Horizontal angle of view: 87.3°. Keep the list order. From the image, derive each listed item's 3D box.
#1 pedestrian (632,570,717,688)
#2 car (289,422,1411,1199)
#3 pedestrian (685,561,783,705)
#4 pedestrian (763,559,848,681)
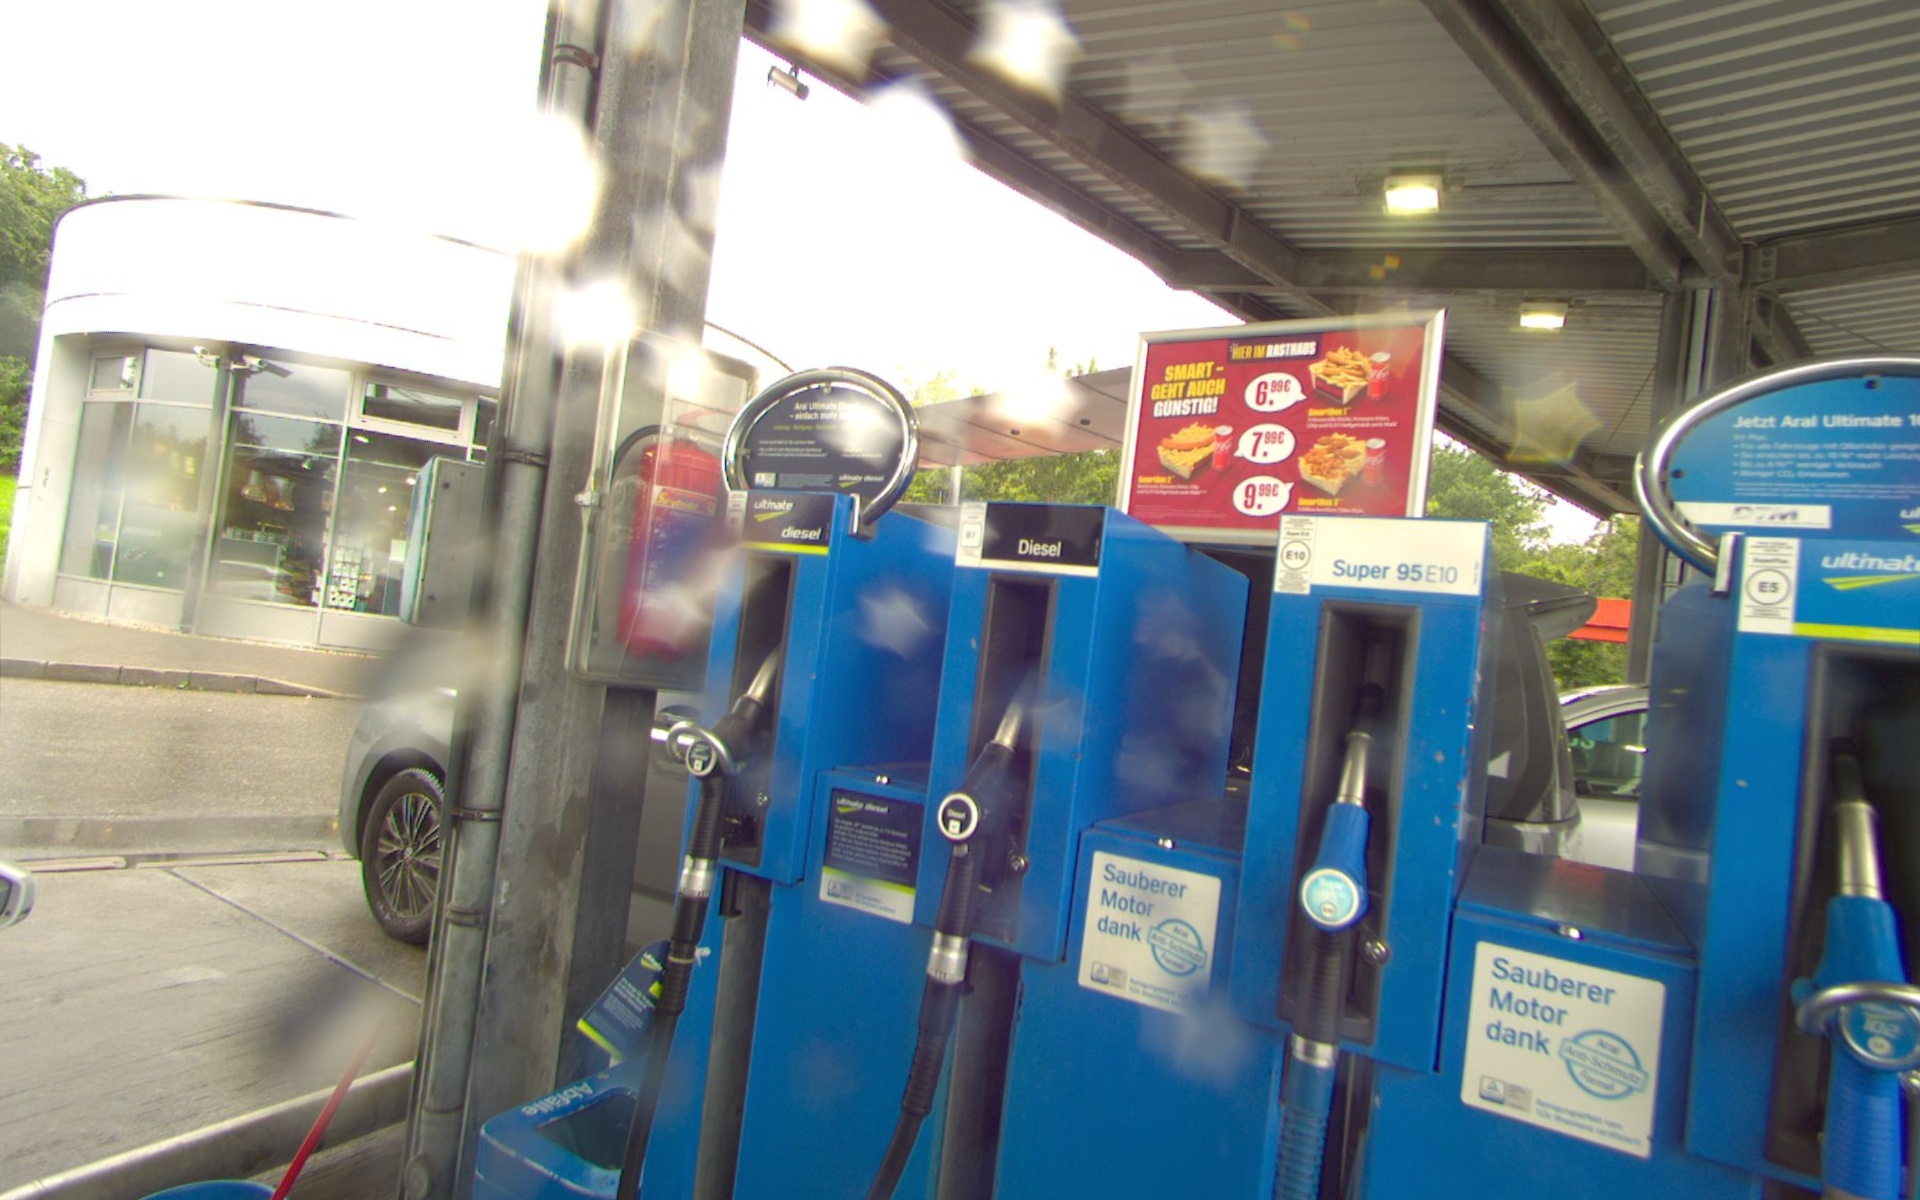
[{"bbox_3d":[-4.108,0.409,14.467,0.882,1.569,0.655,7,0,-29],"label":"pedestrian"},{"bbox_3d":[-0.579,0.517,3.977,3.934,1.971,1.819,7,-1,32],"label":"car"},{"bbox_3d":[-3.170,0.457,14.088,0.965,1.871,0.767,7,0,-30],"label":"pedestrian"},{"bbox_3d":[-2.593,0.333,16.839,0.990,1.887,0.793,7,0,-30],"label":"pedestrian"}]
